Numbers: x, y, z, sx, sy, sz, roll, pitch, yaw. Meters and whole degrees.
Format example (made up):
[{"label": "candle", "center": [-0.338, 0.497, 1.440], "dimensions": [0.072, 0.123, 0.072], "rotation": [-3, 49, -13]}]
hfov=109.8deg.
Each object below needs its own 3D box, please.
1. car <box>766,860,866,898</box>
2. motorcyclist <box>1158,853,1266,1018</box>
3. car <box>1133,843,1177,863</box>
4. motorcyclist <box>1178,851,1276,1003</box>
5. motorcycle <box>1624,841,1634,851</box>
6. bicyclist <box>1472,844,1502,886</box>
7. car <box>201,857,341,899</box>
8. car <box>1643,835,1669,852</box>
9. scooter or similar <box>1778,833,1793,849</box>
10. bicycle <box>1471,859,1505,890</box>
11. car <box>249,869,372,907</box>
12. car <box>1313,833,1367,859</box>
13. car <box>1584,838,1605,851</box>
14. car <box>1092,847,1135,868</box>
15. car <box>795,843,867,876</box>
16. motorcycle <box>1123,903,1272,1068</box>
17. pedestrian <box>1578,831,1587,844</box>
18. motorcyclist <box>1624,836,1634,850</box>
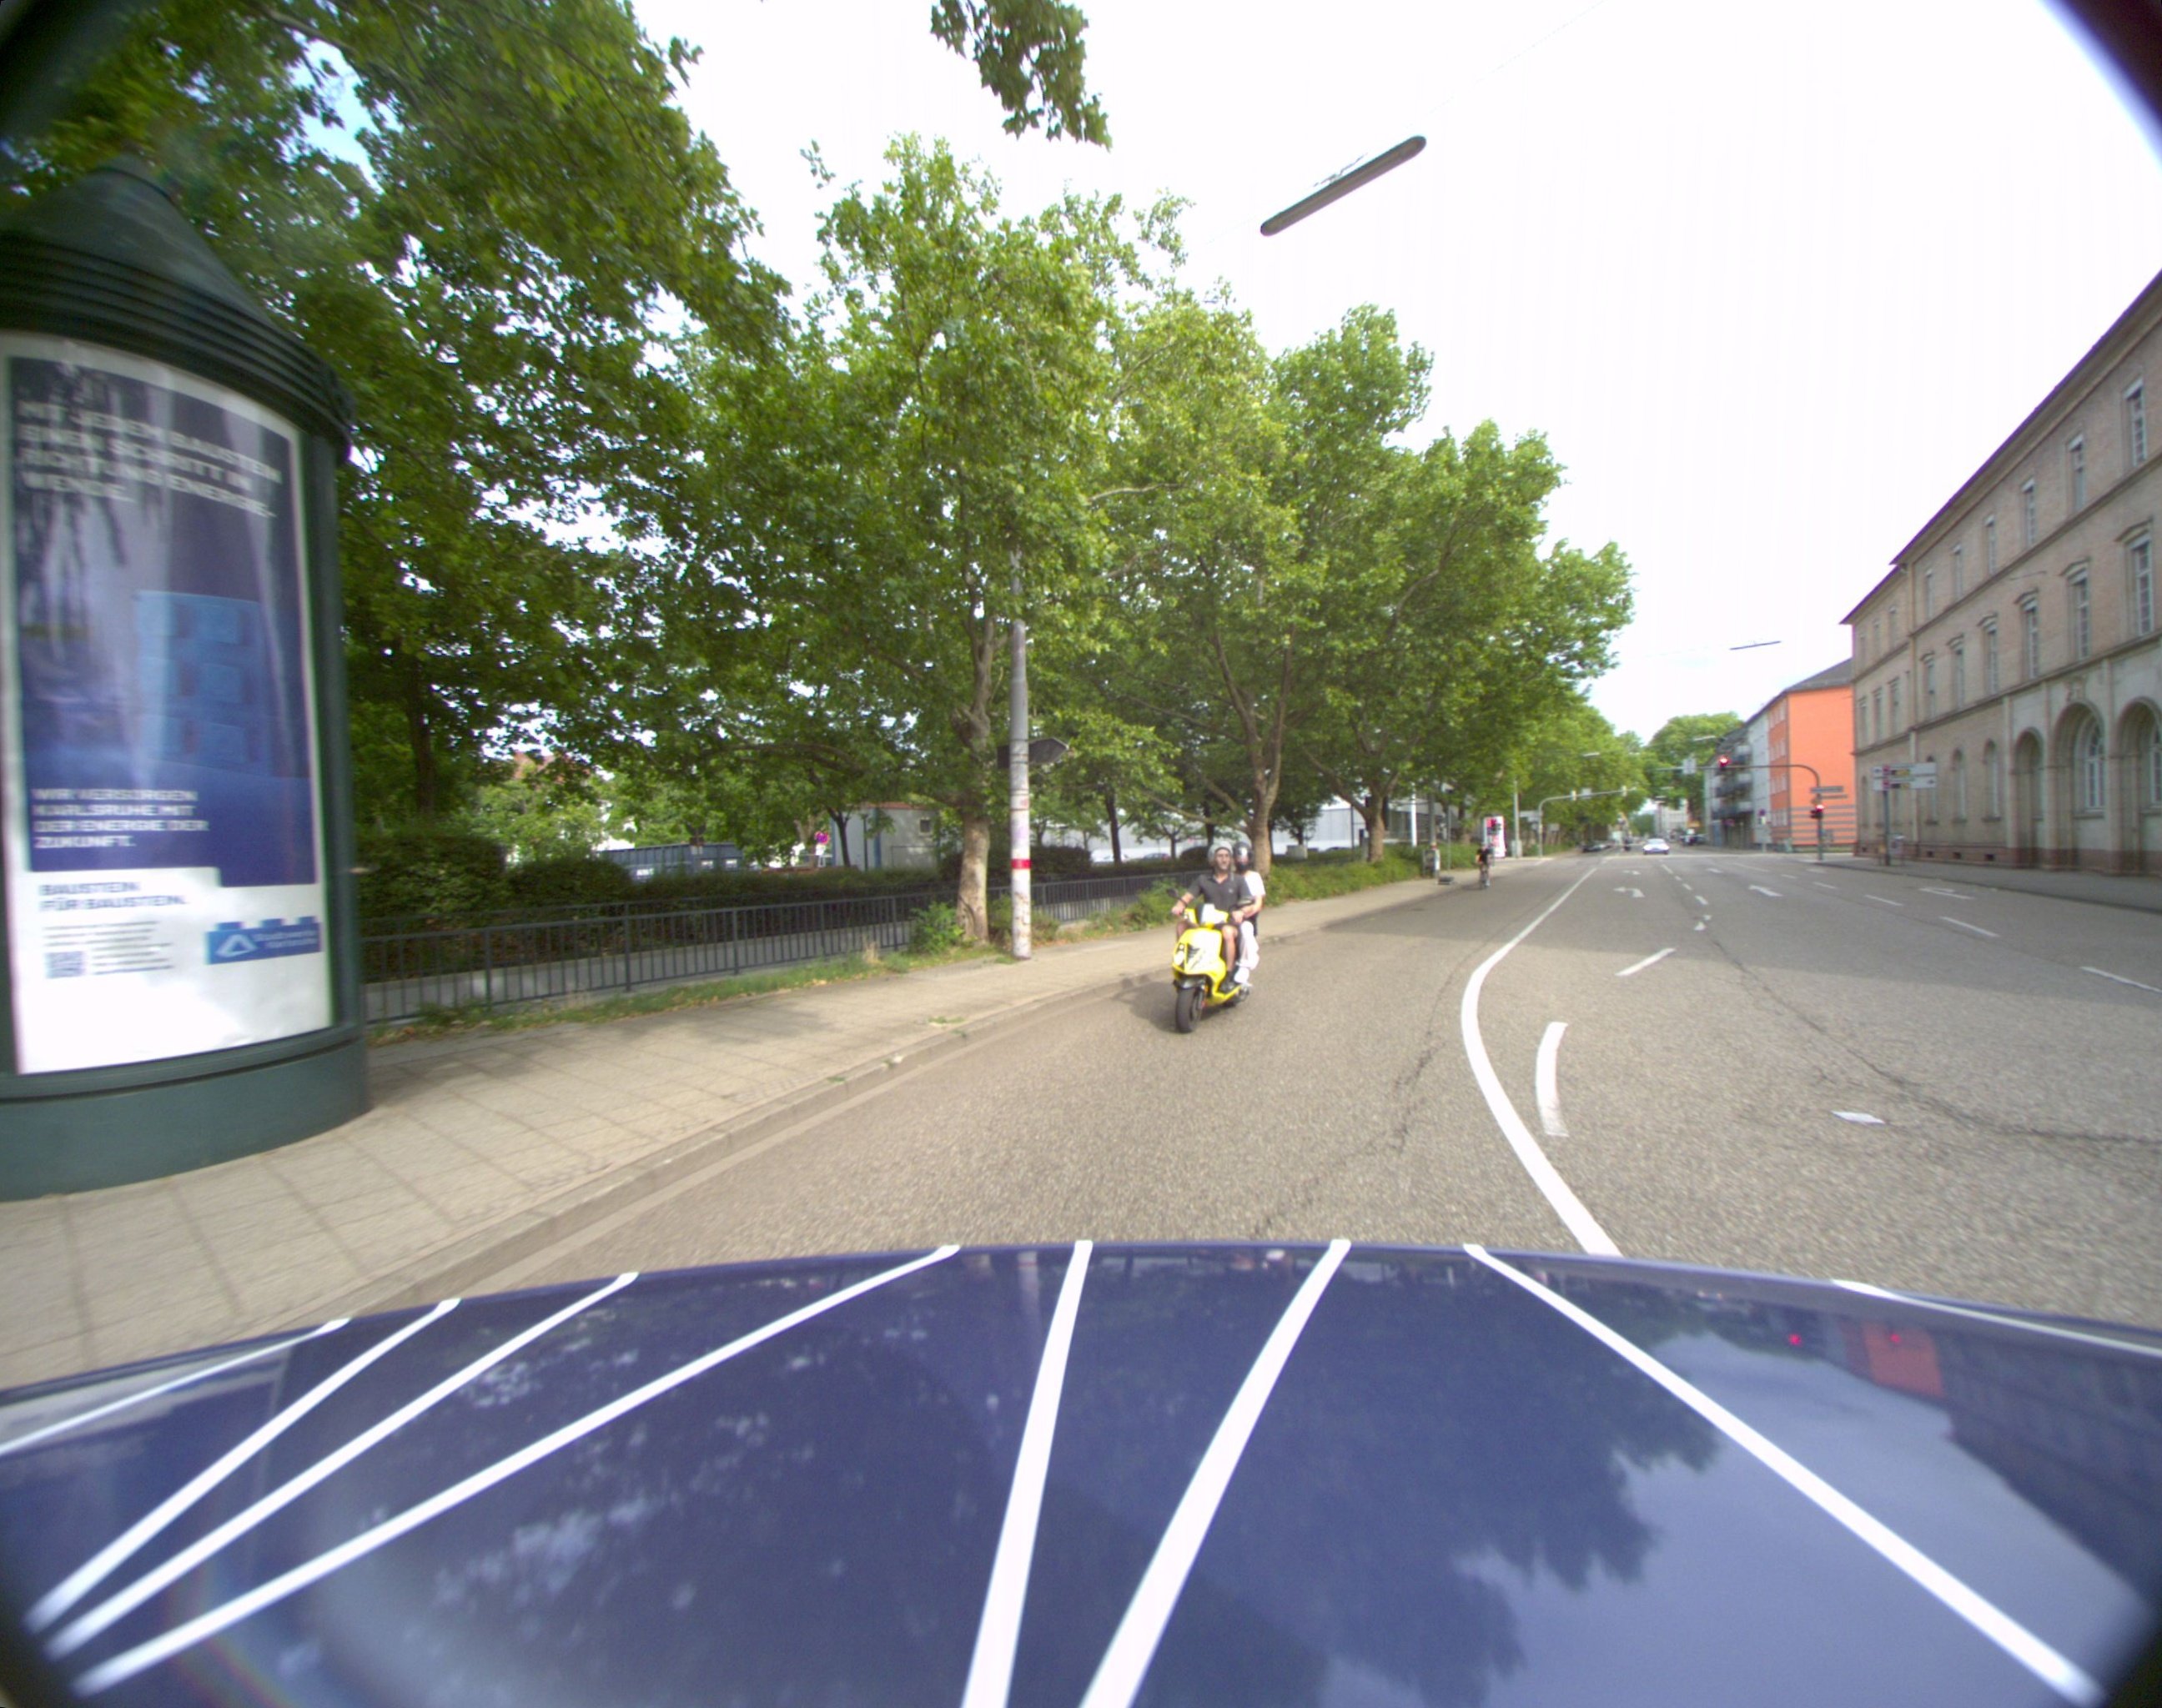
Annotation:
[{"label": "car", "center": [-14.118, 1.296, 40.734], "dimensions": [1.995, 1.783, 4.782], "rotation": [-4, -1, 33]}, {"label": "motorcyclist", "center": [1.227, 0.716, 7.048], "dimensions": [0.780, 1.419, 0.765], "rotation": [-2, 0, 25]}, {"label": "car", "center": [7.626, -0.118, 78.440], "dimensions": [3.990, 1.848, 2.004], "rotation": [-4, -1, 27]}, {"label": "motorcyclist", "center": [1.465, 0.695, 7.577], "dimensions": [0.780, 1.419, 0.690], "rotation": [-2, 0, 25]}, {"label": "motorcycle", "center": [65.675, -0.922, 91.030], "dimensions": [0.780, 1.170, 1.996], "rotation": [-3, -2, 33]}, {"label": "bicyclist", "center": [14.620, 0.388, 27.356], "dimensions": [0.783, 1.438, 0.916], "rotation": [-4, -1, 34]}, {"label": "car", "center": [-43.208, 1.233, 40.642], "dimensions": [1.995, 2.001, 4.782], "rotation": [-4, -1, 33]}, {"label": "car", "center": [51.091, -0.968, 67.587], "dimensions": [1.669, 1.430, 3.827], "rotation": [-1, 0, 35]}, {"label": "scooter or similar", "center": [52.708, -0.964, 56.833], "dimensions": [0.329, 1.151, 1.356], "rotation": [-3, -1, 23]}, {"label": "bicycle", "center": [14.695, 0.717, 27.398], "dimensions": [0.769, 1.009, 2.412], "rotation": [-4, -1, 34]}, {"label": "car", "center": [-37.139, 1.631, 36.712], "dimensions": [1.995, 1.571, 3.797], "rotation": [-4, -1, 33]}, {"label": "car", "center": [22.471, -0.652, 66.037], "dimensions": [3.990, 2.001, 2.004], "rotation": [-4, -1, 31]}, {"label": "car", "center": [70.763, -1.315, 104.652], "dimensions": [1.995, 1.532, 4.280], "rotation": [-4, -1, 38]}, {"label": "car", "center": [3.475, 0.417, 80.891], "dimensions": [3.990, 2.001, 2.004], "rotation": [-4, -1, 27]}, {"label": "car", "center": [-21.630, 0.427, 65.956], "dimensions": [2.437, 2.598, 5.507], "rotation": [-4, -1, 33]}, {"label": "motorcycle", "center": [1.134, 1.087, 6.939], "dimensions": [0.780, 1.171, 1.996], "rotation": [-2, -1, 25]}, {"label": "pedestrian", "center": [80.114, -2.651, 121.360], "dimensions": [1.001, 2.001, 0.999], "rotation": [-4, -1, 38]}, {"label": "motorcyclist", "center": [65.673, -1.298, 91.047], "dimensions": [0.780, 1.651, 1.115], "rotation": [-3, -1, 33]}]
